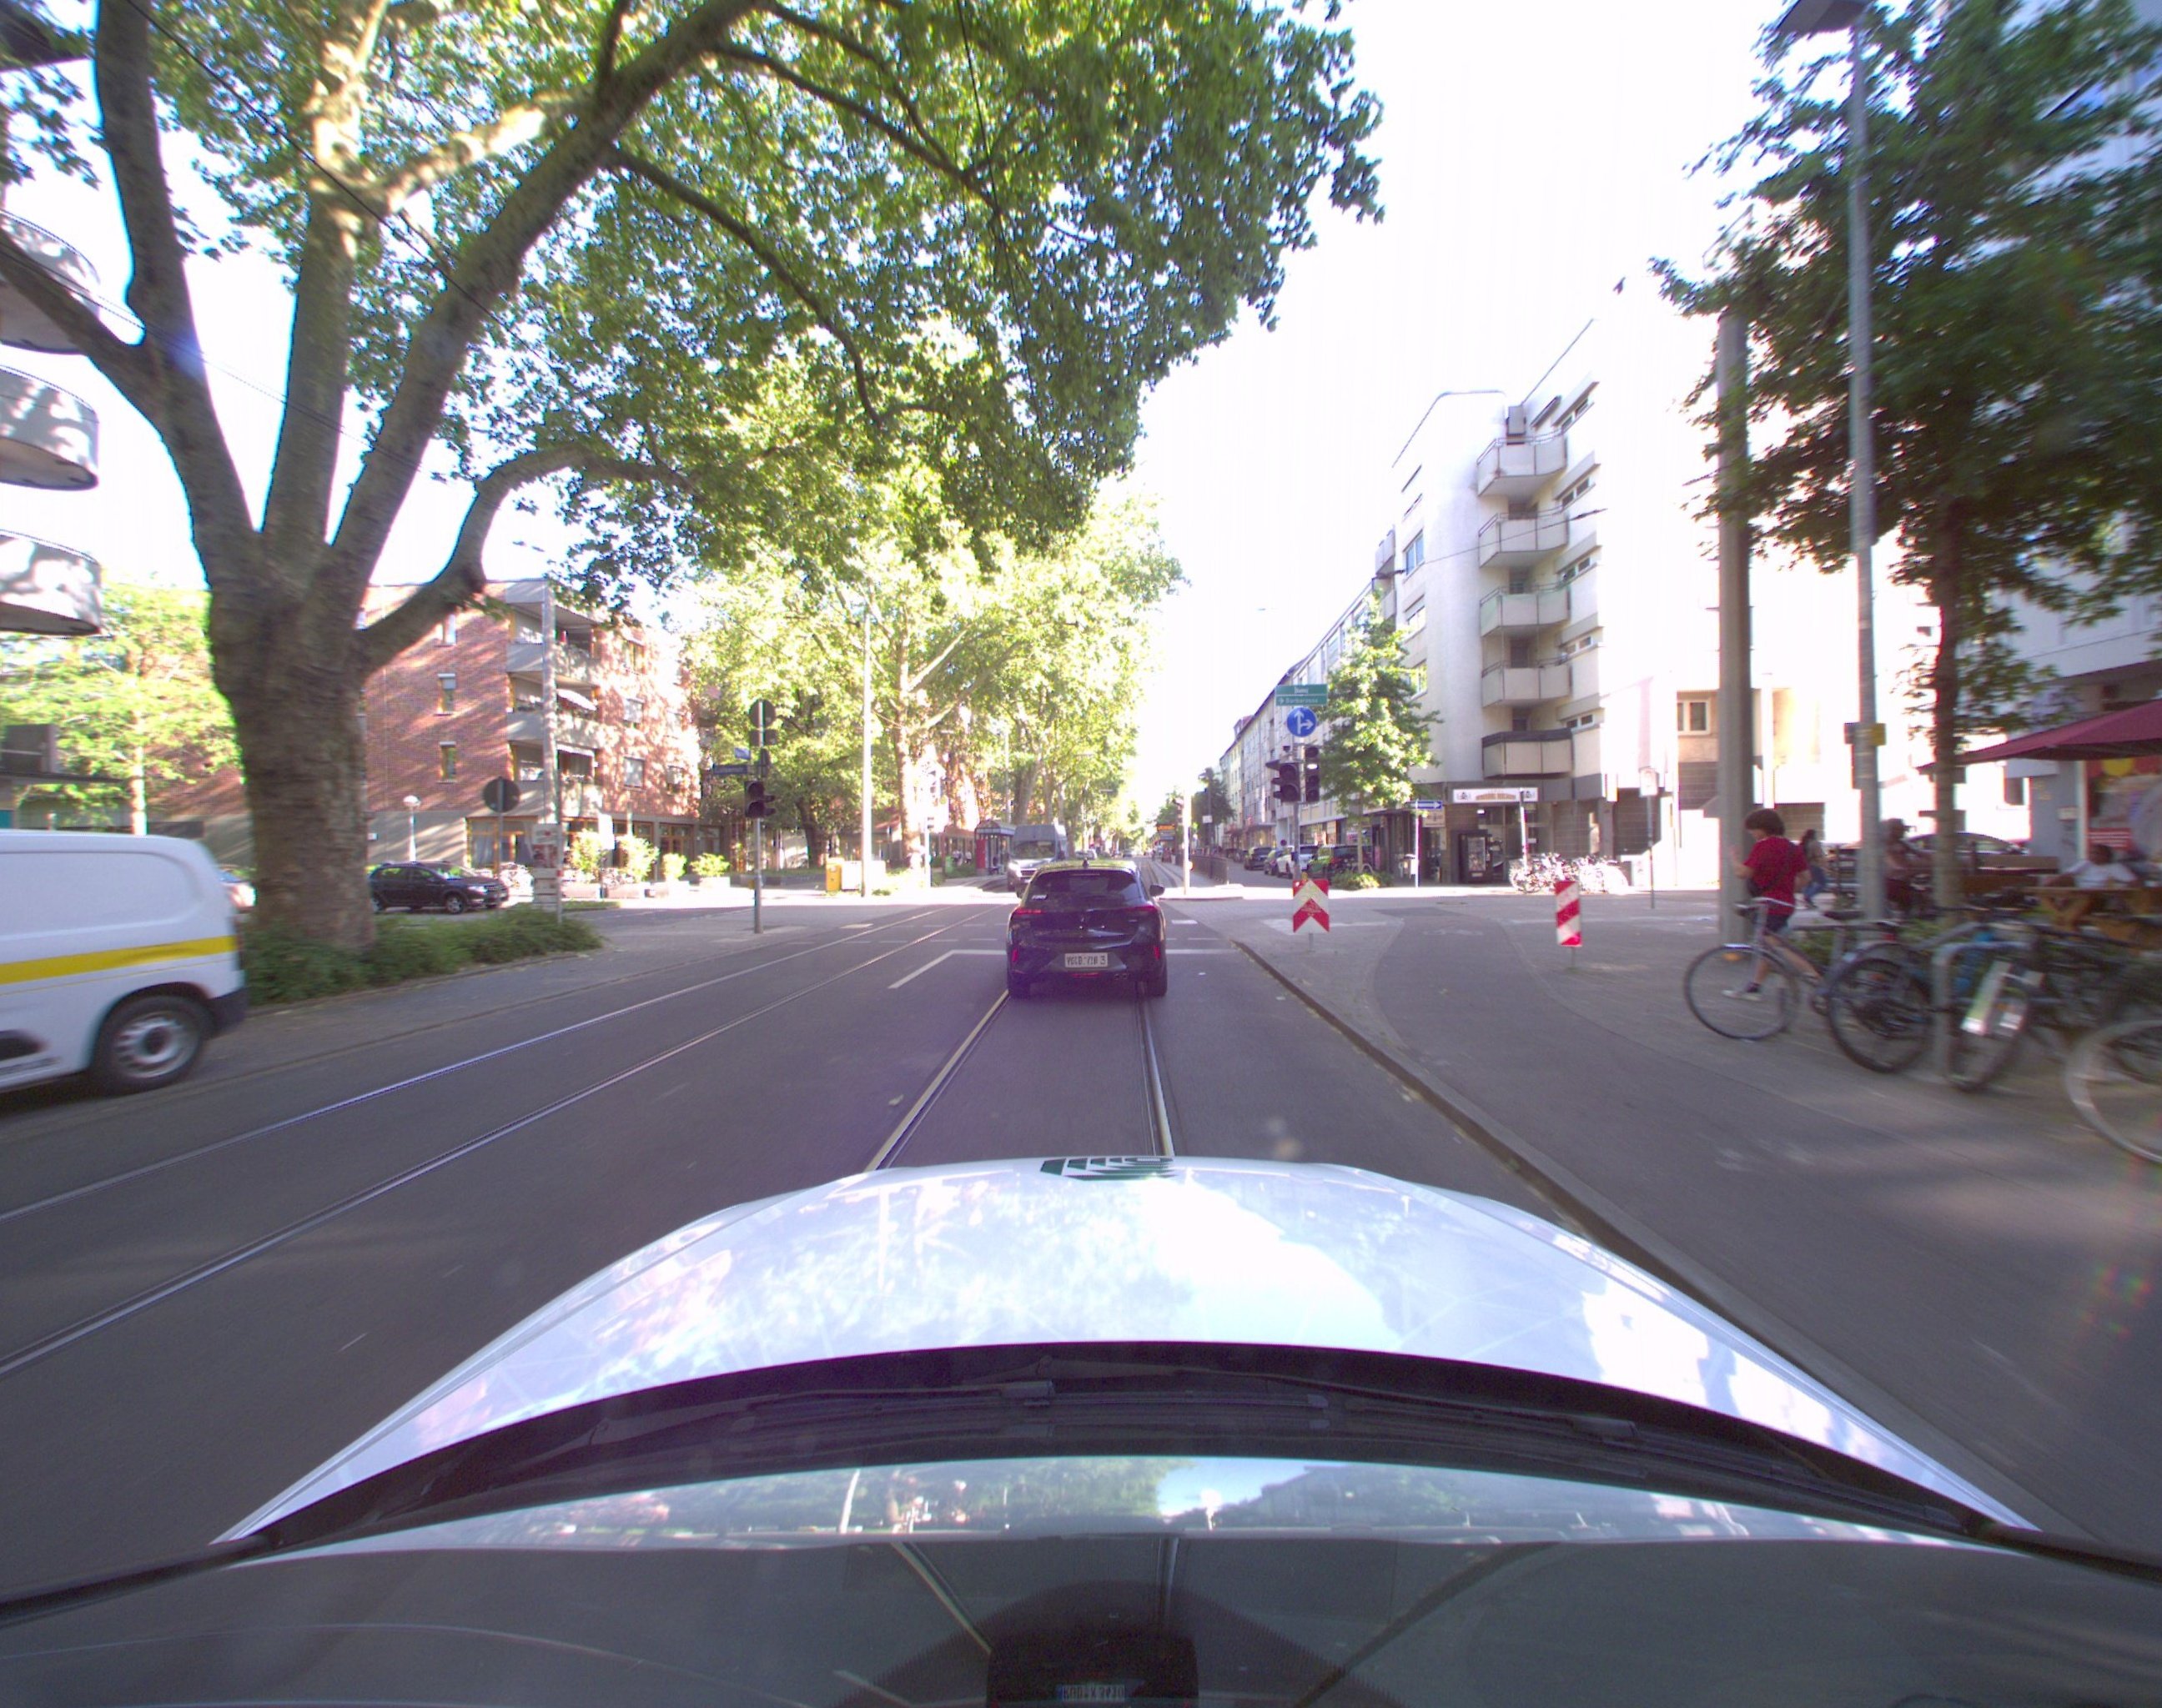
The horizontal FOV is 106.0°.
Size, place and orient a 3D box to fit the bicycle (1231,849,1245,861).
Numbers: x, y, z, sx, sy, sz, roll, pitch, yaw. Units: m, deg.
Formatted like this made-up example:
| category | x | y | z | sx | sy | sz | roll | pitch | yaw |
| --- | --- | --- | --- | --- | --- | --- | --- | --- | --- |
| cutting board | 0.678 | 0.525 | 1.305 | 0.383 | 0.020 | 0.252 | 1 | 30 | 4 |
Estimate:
| category | x | y | z | sx | sy | sz | roll | pitch | yaw |
| --- | --- | --- | --- | --- | --- | --- | --- | --- | --- |
| bicycle | 14.821 | 0.066 | 76.814 | 0.620 | 1.136 | 2.433 | 0 | 0 | -7 |

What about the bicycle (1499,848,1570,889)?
| category | x | y | z | sx | sy | sz | roll | pitch | yaw |
| --- | --- | --- | --- | --- | --- | --- | --- | --- | --- |
| bicycle | 14.098 | 0.457 | 25.329 | 1.908 | 1.207 | 0.511 | -2 | 0 | 0 |

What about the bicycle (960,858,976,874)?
| category | x | y | z | sx | sy | sz | roll | pitch | yaw |
| --- | --- | --- | --- | --- | --- | --- | --- | --- | --- |
| bicycle | -8.559 | 0.890 | 61.990 | 0.779 | 1.191 | 2.597 | 0 | 0 | 1 |

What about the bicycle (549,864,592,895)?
| category | x | y | z | sx | sy | sz | roll | pitch | yaw |
| --- | --- | --- | --- | --- | --- | --- | --- | --- | --- |
| bicycle | -19.671 | 0.968 | 31.407 | 0.539 | 1.084 | 1.640 | 0 | 2 | 3 |

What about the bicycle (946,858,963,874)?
| category | x | y | z | sx | sy | sz | roll | pitch | yaw |
| --- | --- | --- | --- | --- | --- | --- | --- | --- | --- |
| bicycle | -9.576 | 0.897 | 61.743 | 0.779 | 1.111 | 2.597 | 0 | 0 | 1 |

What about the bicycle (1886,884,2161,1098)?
| category | x | y | z | sx | sy | sz | roll | pitch | yaw |
| --- | --- | --- | --- | --- | --- | --- | --- | --- | --- |
| bicycle | 5.637 | 0.731 | 4.603 | 1.812 | 1.100 | 0.480 | 0 | -1 | -5 |

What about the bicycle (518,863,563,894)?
| category | x | y | z | sx | sy | sz | roll | pitch | yaw |
| --- | --- | --- | --- | --- | --- | --- | --- | --- | --- |
| bicycle | -20.936 | 0.940 | 31.564 | 0.539 | 1.084 | 1.640 | 0 | 2 | 3 |

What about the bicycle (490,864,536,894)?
| category | x | y | z | sx | sy | sz | roll | pitch | yaw |
| --- | --- | --- | --- | --- | --- | --- | --- | --- | --- |
| bicycle | -21.979 | 0.966 | 31.532 | 0.539 | 1.084 | 1.640 | -1 | 1 | 3 |

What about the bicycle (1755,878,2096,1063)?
| category | x | y | z | sx | sy | sz | roll | pitch | yaw |
| --- | --- | --- | --- | --- | --- | --- | --- | --- | --- |
| bicycle | 5.439 | 0.719 | 5.279 | 1.812 | 1.100 | 0.497 | 0 | -1 | -5 |

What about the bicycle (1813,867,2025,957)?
| category | x | y | z | sx | sy | sz | roll | pitch | yaw |
| --- | --- | --- | --- | --- | --- | --- | --- | --- | --- |
| bicycle | 10.145 | 0.654 | 9.992 | 0.673 | 0.963 | 2.025 | 0 | 0 | 6 |

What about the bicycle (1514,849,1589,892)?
| category | x | y | z | sx | sy | sz | roll | pitch | yaw |
| --- | --- | --- | --- | --- | --- | --- | --- | --- | --- |
| bicycle | 13.998 | 0.494 | 24.242 | 1.908 | 1.207 | 0.511 | -2 | 1 | 0 |

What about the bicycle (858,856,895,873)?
| category | x | y | z | sx | sy | sz | roll | pitch | yaw |
| --- | --- | --- | --- | --- | --- | --- | --- | --- | --- |
| bicycle | -13.829 | 0.715 | 55.028 | 2.329 | 1.166 | 0.683 | 0 | 0 | 4 |

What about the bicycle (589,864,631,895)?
| category | x | y | z | sx | sy | sz | roll | pitch | yaw |
| --- | --- | --- | --- | --- | --- | --- | --- | --- | --- |
| bicycle | -17.999 | 0.954 | 31.159 | 0.539 | 1.084 | 1.640 | 0 | 2 | 3 |

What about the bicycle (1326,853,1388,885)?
| category | x | y | z | sx | sy | sz | roll | pitch | yaw |
| --- | --- | --- | --- | --- | --- | --- | --- | --- | --- |
| bicycle | 10.340 | 0.571 | 30.562 | 2.112 | 1.187 | 0.683 | 0 | -1 | 12 |

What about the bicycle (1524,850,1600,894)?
| category | x | y | z | sx | sy | sz | roll | pitch | yaw |
| --- | --- | --- | --- | --- | --- | --- | --- | --- | --- |
| bicycle | 13.985 | 0.512 | 23.710 | 1.908 | 1.207 | 0.511 | -2 | 1 | 0 |

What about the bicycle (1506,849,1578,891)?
| category | x | y | z | sx | sy | sz | roll | pitch | yaw |
| --- | --- | --- | --- | --- | --- | --- | --- | --- | --- |
| bicycle | 14.013 | 0.476 | 24.776 | 1.908 | 1.207 | 0.511 | -1 | 0 | 0 |

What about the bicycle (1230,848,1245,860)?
| category | x | y | z | sx | sy | sz | roll | pitch | yaw |
| --- | --- | --- | --- | --- | --- | --- | --- | --- | --- |
| bicycle | 15.648 | -0.014 | 81.369 | 0.610 | 1.136 | 2.914 | 0 | 0 | -7 |

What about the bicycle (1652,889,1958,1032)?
| category | x | y | z | sx | sy | sz | roll | pitch | yaw |
| --- | --- | --- | --- | --- | --- | --- | --- | --- | --- |
| bicycle | 5.301 | 0.766 | 6.017 | 1.808 | 0.994 | 0.481 | 0 | -1 | 1 |

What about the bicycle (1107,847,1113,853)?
| category | x | y | z | sx | sy | sz | roll | pitch | yaw |
| --- | --- | --- | --- | --- | --- | --- | --- | --- | --- |
| bicycle | 5.803 | -0.772 | 162.799 | 0.950 | 1.240 | 2.984 | 0 | 0 | 7 |

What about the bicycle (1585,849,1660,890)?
| category | x | y | z | sx | sy | sz | roll | pitch | yaw |
| --- | --- | --- | --- | --- | --- | --- | --- | --- | --- |
| bicycle | 16.135 | 0.455 | 24.281 | 1.908 | 1.207 | 0.511 | -1 | 1 | 0 |

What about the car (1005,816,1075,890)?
| category | x | y | z | sx | sy | sz | roll | pitch | yaw |
| --- | --- | --- | --- | --- | --- | --- | --- | --- | --- |
| car | -1.581 | -0.015 | 34.139 | 2.104 | 2.738 | 6.121 | -2 | 0 | 4 |

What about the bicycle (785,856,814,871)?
| category | x | y | z | sx | sy | sz | roll | pitch | yaw |
| --- | --- | --- | --- | --- | --- | --- | --- | --- | --- |
| bicycle | -20.912 | 0.693 | 60.434 | 1.941 | 1.073 | 0.762 | 0 | 0 | -13 |

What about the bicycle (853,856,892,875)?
| category | x | y | z | sx | sy | sz | roll | pitch | yaw |
| --- | --- | --- | --- | --- | --- | --- | --- | --- | --- |
| bicycle | -13.970 | 0.754 | 54.581 | 2.447 | 1.219 | 0.683 | 1 | 0 | 4 |

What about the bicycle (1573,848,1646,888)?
| category | x | y | z | sx | sy | sz | roll | pitch | yaw |
| --- | --- | --- | --- | --- | --- | --- | --- | --- | --- |
| bicycle | 16.138 | 0.439 | 24.893 | 1.908 | 1.207 | 0.511 | 0 | -1 | 0 |

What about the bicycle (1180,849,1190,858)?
| category | x | y | z | sx | sy | sz | roll | pitch | yaw |
| --- | --- | --- | --- | --- | --- | --- | --- | --- | --- |
| bicycle | 13.365 | -0.099 | 104.589 | 0.858 | 1.136 | 2.394 | 0 | 0 | -2 |

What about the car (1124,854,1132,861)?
| category | x | y | z | sx | sy | sz | roll | pitch | yaw |
| --- | --- | --- | --- | --- | --- | --- | --- | --- | --- |
| car | 10.363 | 0.711 | 180.260 | 1.738 | 1.544 | 4.003 | 0 | 0 | 3 |

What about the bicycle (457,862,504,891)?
| category | x | y | z | sx | sy | sz | roll | pitch | yaw |
| --- | --- | --- | --- | --- | --- | --- | --- | --- | --- |
| bicycle | -23.396 | 0.863 | 31.763 | 0.539 | 1.084 | 1.640 | 0 | 0 | 3 |

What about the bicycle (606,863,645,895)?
| category | x | y | z | sx | sy | sz | roll | pitch | yaw |
| --- | --- | --- | --- | --- | --- | --- | --- | --- | --- |
| bicycle | -17.375 | 0.946 | 31.128 | 0.539 | 1.084 | 1.538 | 0 | 2 | 3 |

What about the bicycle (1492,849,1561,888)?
| category | x | y | z | sx | sy | sz | roll | pitch | yaw |
| --- | --- | --- | --- | --- | --- | --- | --- | --- | --- |
| bicycle | 14.147 | 0.454 | 25.872 | 1.908 | 1.207 | 0.511 | 0 | -1 | 0 |

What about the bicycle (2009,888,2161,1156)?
| category | x | y | z | sx | sy | sz | roll | pitch | yaw |
| --- | --- | --- | --- | --- | --- | --- | --- | --- | --- |
| bicycle | 5.432 | 0.707 | 3.673 | 1.808 | 1.100 | 0.526 | -1 | -1 | 3 |

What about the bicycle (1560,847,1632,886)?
| category | x | y | z | sx | sy | sz | roll | pitch | yaw |
| --- | --- | --- | --- | --- | --- | --- | --- | --- | --- |
| bicycle | 16.151 | 0.398 | 25.558 | 1.908 | 1.208 | 0.511 | 0 | -1 | 0 |
